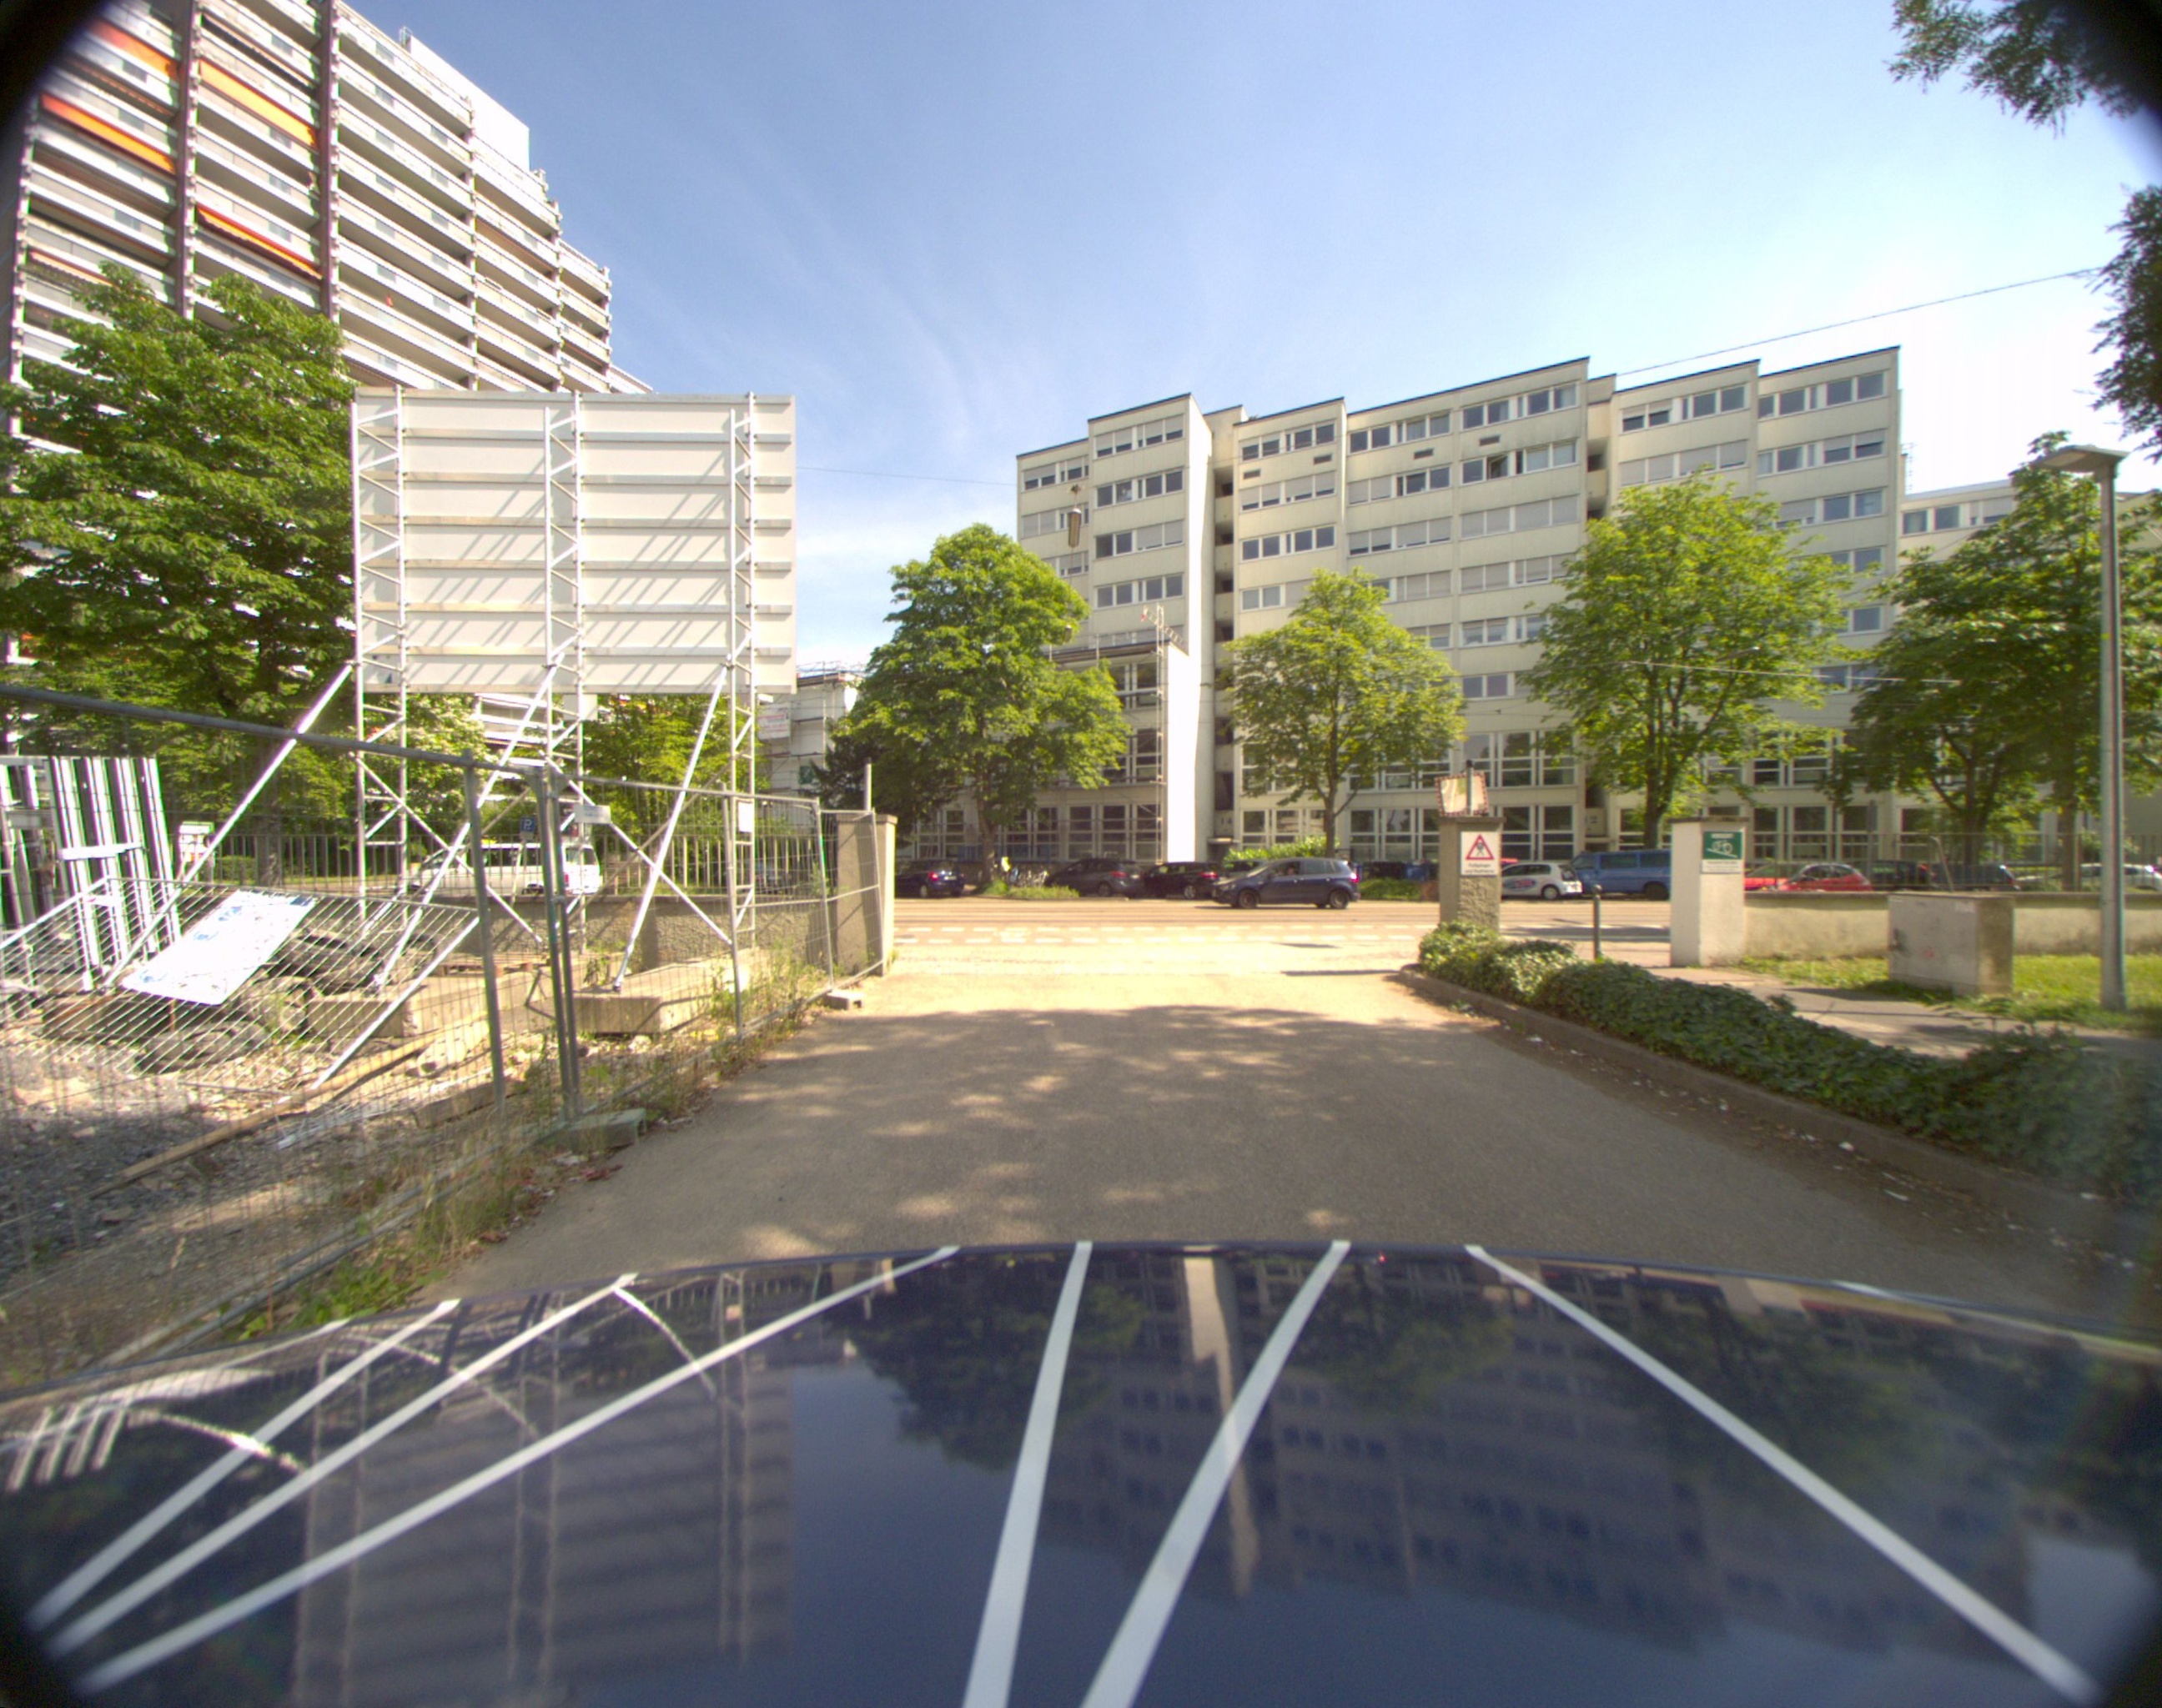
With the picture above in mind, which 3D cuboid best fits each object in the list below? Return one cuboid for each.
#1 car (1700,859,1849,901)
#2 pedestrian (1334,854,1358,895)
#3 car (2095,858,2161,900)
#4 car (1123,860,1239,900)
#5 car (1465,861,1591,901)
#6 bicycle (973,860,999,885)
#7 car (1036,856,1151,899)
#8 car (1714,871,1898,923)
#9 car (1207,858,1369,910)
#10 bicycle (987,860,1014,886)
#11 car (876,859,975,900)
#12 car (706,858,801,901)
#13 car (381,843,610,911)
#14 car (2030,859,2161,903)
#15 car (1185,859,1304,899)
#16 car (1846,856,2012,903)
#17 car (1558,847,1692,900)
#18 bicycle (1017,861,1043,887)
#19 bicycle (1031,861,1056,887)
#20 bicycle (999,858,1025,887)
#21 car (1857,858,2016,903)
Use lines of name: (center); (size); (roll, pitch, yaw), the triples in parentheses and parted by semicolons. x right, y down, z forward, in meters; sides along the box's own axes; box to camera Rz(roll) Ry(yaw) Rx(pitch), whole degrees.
car: (26.968, 0.989, 29.681); (4.208, 1.529, 1.786); (-1, -1, 44)
pedestrian: (11.676, 0.889, 33.490); (0.753, 1.766, 0.731); (0, 0, -3)
car: (43.499, 0.998, 29.986); (1.833, 1.652, 3.988); (0, 0, -43)
car: (3.854, 0.968, 29.714); (4.173, 1.467, 1.805); (0, 0, 41)
car: (17.310, 0.997, 29.580); (1.713, 1.455, 3.840); (0, 0, -35)
bicycle: (-4.664, 0.887, 37.424); (0.488, 1.193, 2.019); (0, 0, 17)
car: (0.414, 0.874, 29.741); (4.378, 1.556, 1.812); (-1, 0, 42)
car: (20.825, 1.193, 21.882); (4.176, 1.404, 1.661); (0, -1, -10)
car: (6.189, 0.891, 23.100); (4.387, 1.512, 1.943); (0, -1, -1)
bicycle: (-3.905, 0.910, 36.923); (0.488, 1.193, 2.019); (0, 0, 19)
car: (-6.049, 0.931, 29.299); (3.988, 1.443, 1.658); (0, 0, 42)
car: (-12.632, 0.909, 29.193); (4.134, 1.402, 1.846); (1, 3, 43)
car: (-17.303, 0.655, 22.641); (5.245, 1.934, 1.996); (0, 0, -1)
car: (40.596, 1.008, 29.862); (1.833, 1.652, 3.988); (0, 0, -43)
car: (6.452, 0.931, 30.292); (4.327, 1.477, 1.806); (0, 0, 44)
car: (31.439, 0.931, 28.363); (3.989, 1.630, 1.808); (-1, -1, 44)
car: (20.843, 0.756, 29.196); (3.989, 1.895, 1.791); (-1, -1, 43)
bicycle: (-2.438, 0.932, 36.410); (0.488, 1.193, 2.019); (0, 0, 19)
bicycle: (-1.754, 0.955, 36.243); (0.488, 1.193, 2.019); (0, 0, 19)
bicycle: (-3.311, 0.860, 36.718); (0.488, 1.370, 2.019); (0, 0, 19)
car: (33.297, 0.999, 29.773); (3.989, 1.630, 1.836); (-1, -1, 44)
